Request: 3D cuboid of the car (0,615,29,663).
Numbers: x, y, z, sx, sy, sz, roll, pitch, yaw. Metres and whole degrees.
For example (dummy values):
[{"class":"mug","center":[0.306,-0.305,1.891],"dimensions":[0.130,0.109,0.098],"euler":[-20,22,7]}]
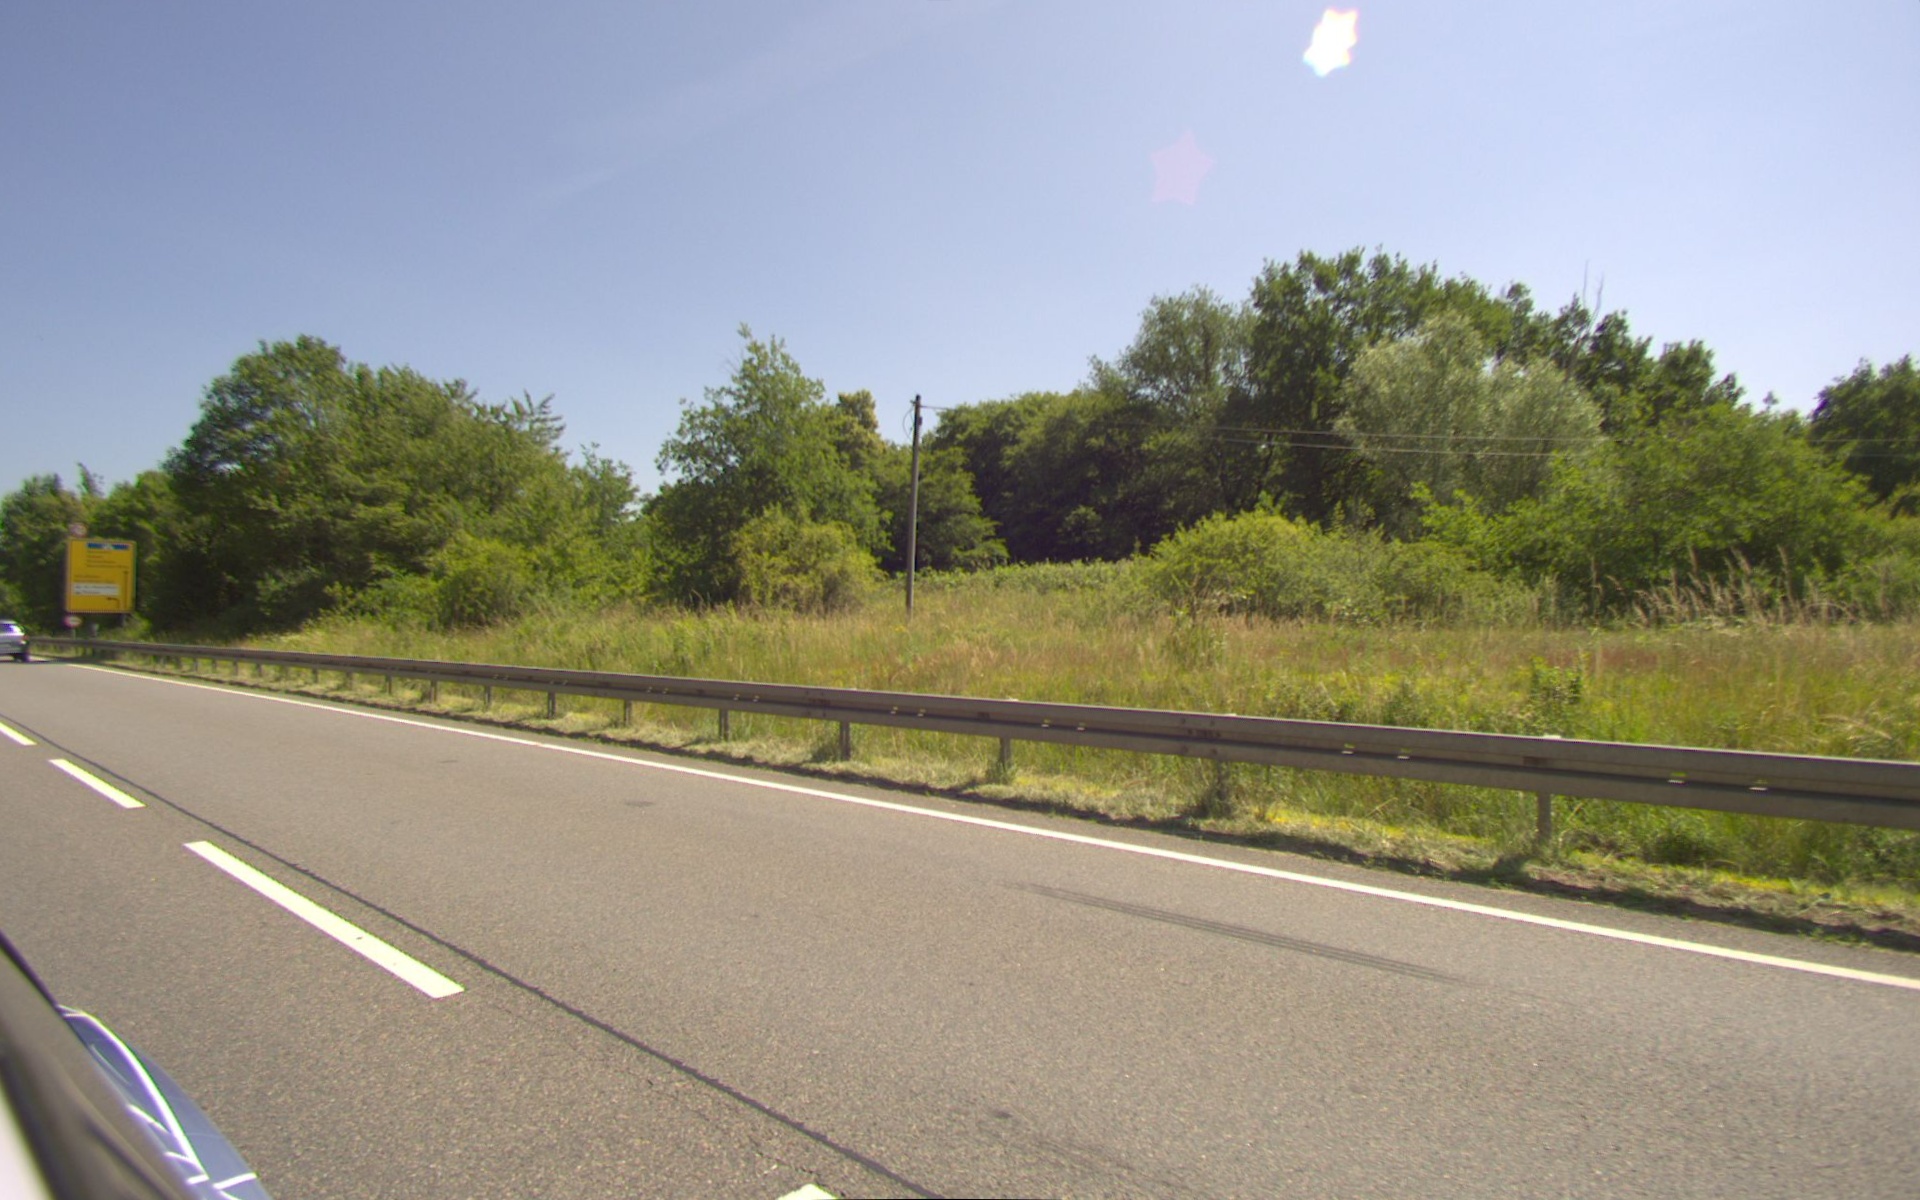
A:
[{"class":"car","center":[-34.738,1.373,35.982],"dimensions":[3.998,1.644,1.973],"euler":[-1,0,41]}]
